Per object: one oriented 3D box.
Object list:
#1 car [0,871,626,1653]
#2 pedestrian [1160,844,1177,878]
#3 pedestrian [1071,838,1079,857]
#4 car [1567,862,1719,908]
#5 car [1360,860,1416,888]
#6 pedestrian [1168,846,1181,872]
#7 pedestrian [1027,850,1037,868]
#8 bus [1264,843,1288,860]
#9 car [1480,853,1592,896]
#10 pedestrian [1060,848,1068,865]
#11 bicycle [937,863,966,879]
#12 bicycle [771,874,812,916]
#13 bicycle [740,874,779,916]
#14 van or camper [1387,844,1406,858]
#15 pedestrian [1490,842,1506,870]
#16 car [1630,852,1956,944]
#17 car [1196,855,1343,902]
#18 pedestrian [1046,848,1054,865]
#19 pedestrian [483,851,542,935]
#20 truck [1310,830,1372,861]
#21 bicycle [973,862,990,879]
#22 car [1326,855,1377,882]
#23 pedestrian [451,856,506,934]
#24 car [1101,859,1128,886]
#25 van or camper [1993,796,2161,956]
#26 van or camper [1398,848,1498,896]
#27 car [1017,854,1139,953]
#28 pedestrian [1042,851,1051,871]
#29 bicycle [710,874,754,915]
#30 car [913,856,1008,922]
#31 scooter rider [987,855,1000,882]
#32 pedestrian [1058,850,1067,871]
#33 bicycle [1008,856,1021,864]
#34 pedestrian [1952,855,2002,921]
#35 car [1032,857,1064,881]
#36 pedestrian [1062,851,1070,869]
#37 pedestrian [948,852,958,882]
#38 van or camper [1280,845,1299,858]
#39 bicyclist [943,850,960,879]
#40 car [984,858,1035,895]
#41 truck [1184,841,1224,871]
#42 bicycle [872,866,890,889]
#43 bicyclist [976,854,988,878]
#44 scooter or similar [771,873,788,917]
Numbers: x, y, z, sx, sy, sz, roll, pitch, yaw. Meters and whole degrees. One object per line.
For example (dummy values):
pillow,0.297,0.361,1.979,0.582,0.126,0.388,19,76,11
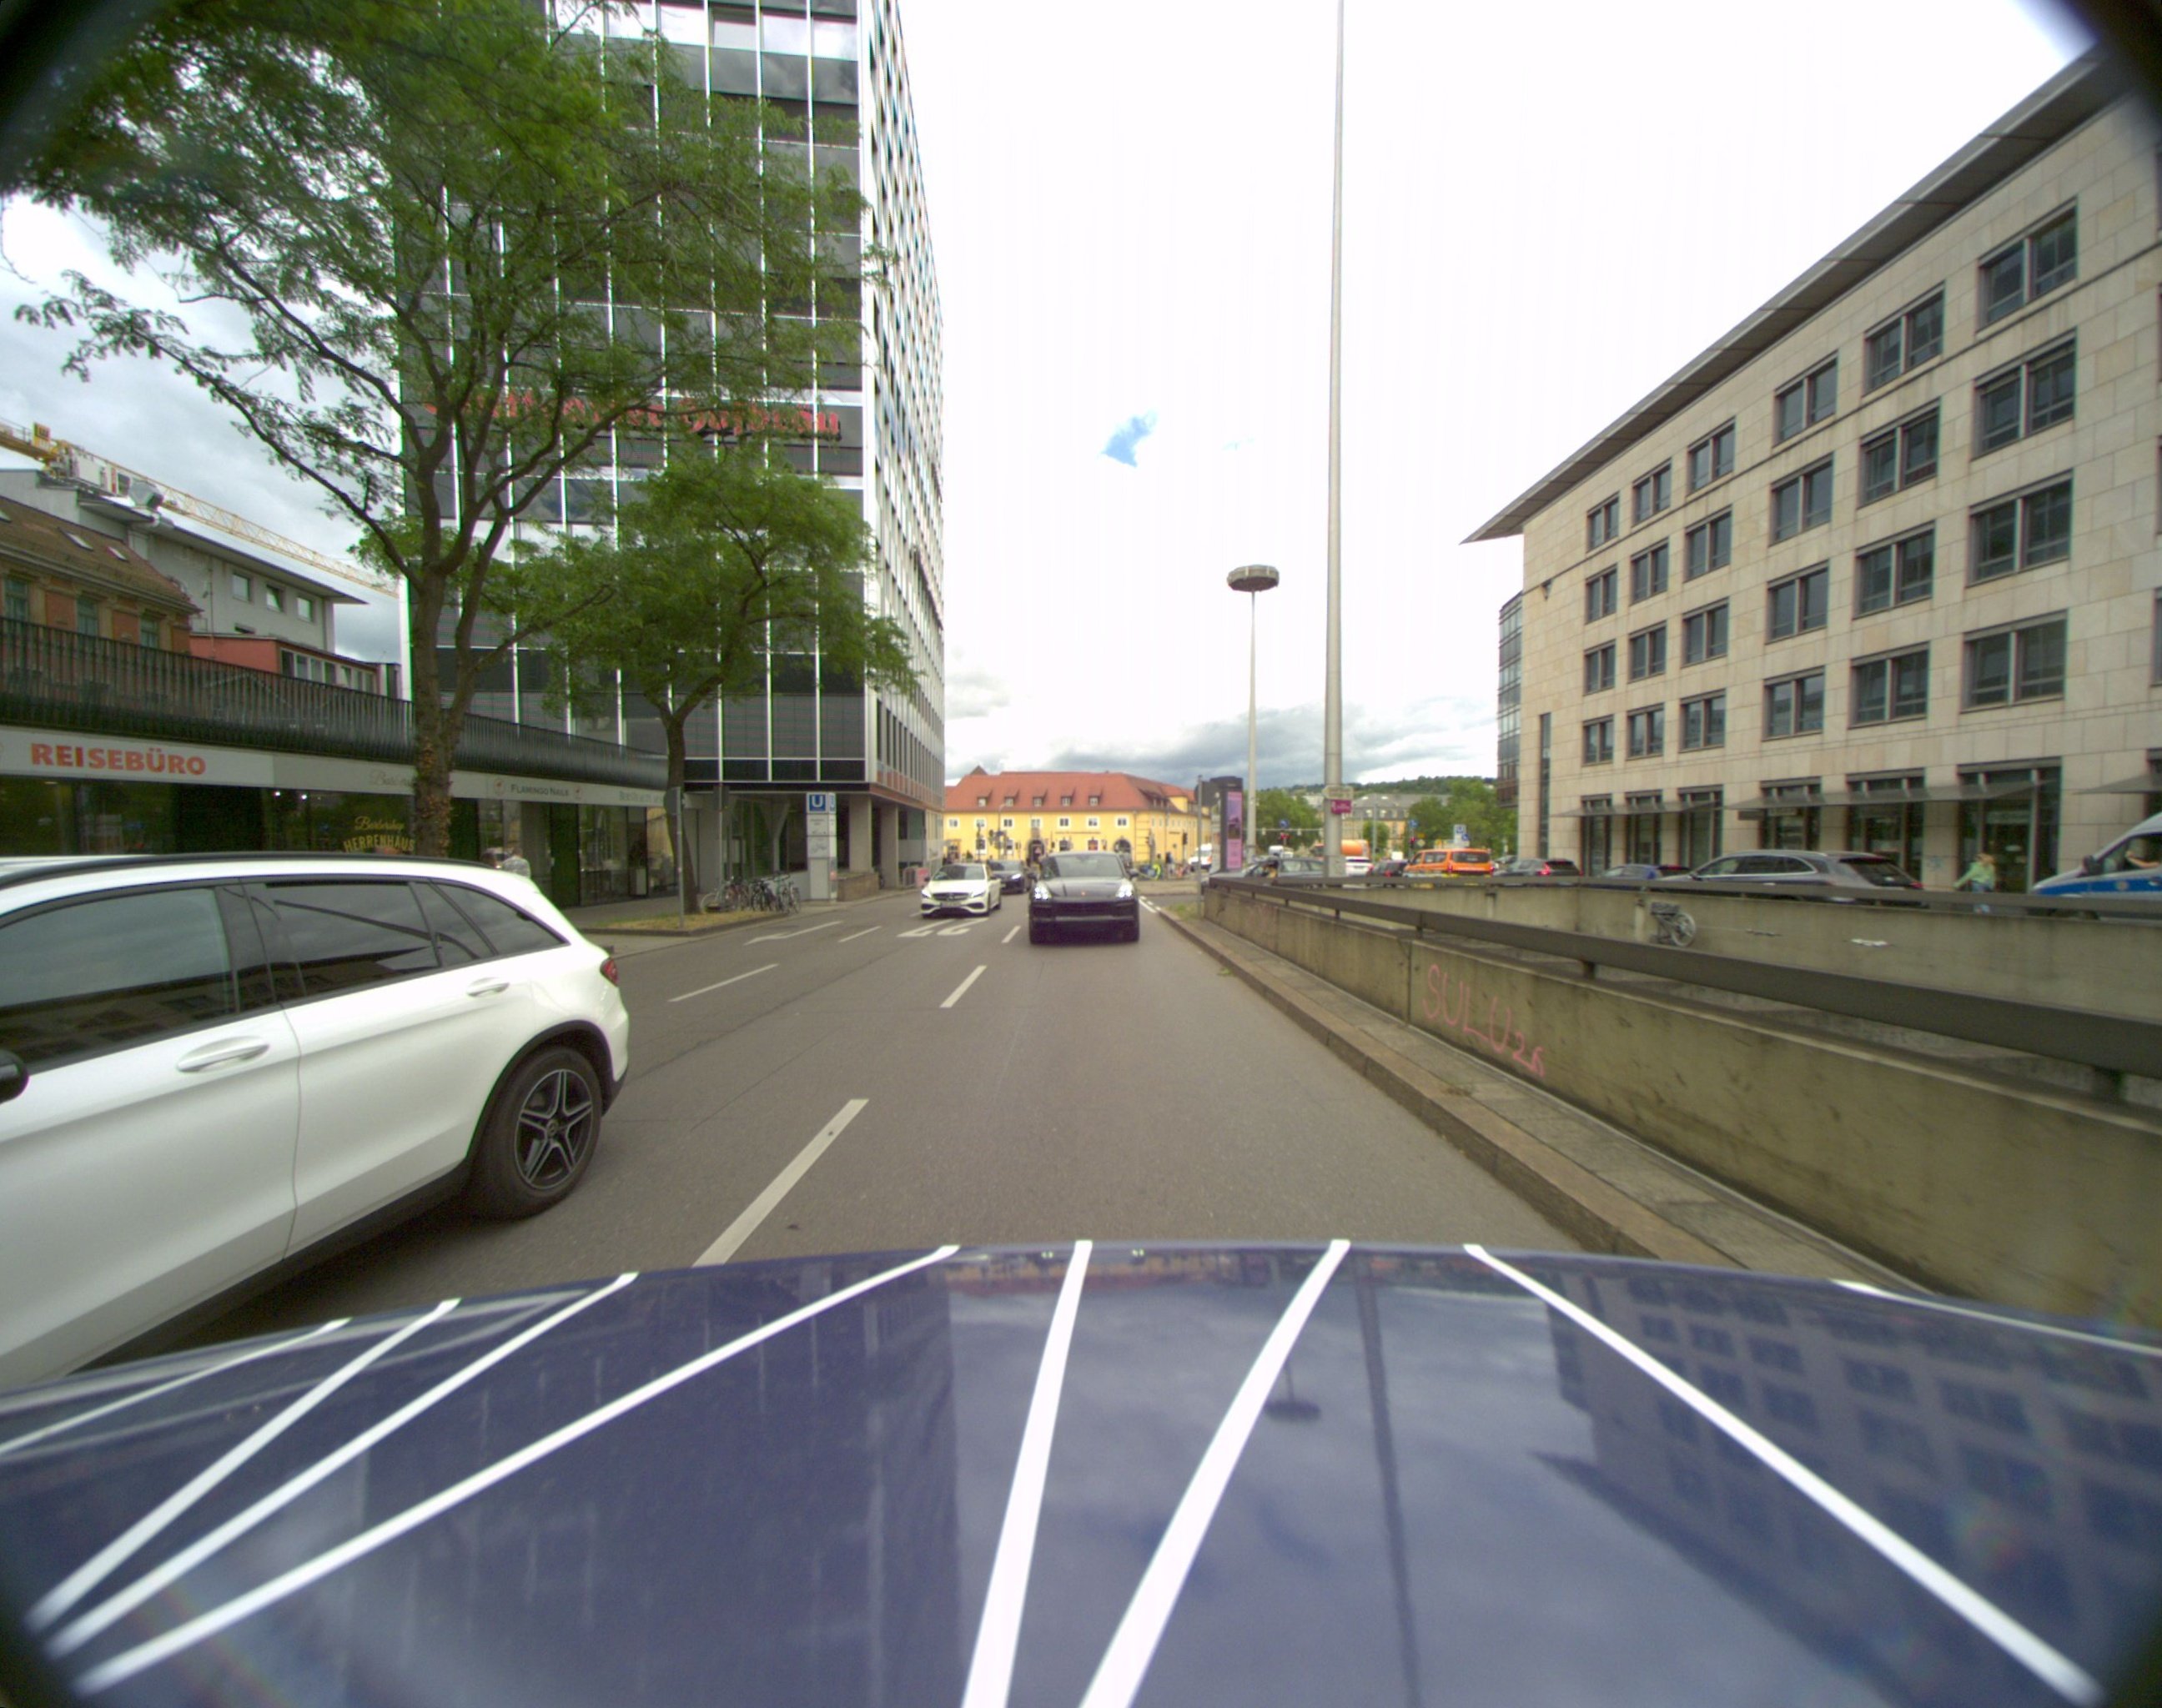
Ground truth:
car,-3.300,0.946,1.849,1.806,1.637,4.333,1,1,-1
pedestrian,5.537,0.428,48.091,0.879,2.160,0.761,0,1,-18
pedestrian,-0.568,-0.655,77.410,0.611,1.944,0.642,-1,1,-20
car,19.412,1.009,26.539,1.998,1.387,4.573,0,0,1
car,16.133,1.015,40.066,1.560,1.371,3.633,1,0,2
pedestrian,6.401,0.345,52.291,0.717,1.780,0.634,3,-1,0
pedestrian,-4.632,0.460,71.750,0.802,1.688,0.547,0,1,-18
bus,37.926,-0.555,147.470,3.428,3.185,13.082,0,0,20
car,19.371,0.810,32.630,1.998,1.636,4.683,1,0,0
pedestrian,-1.705,0.208,75.125,0.611,1.686,0.641,-1,1,-23
bicycle,-8.356,1.087,49.019,1.763,1.001,0.682,1,-1,26
bicycle,-8.476,1.172,22.295,0.490,1.126,1.843,0,0,0
bicycle,-9.451,1.178,22.387,0.491,1.126,1.886,0,0,-5
van or camper,57.952,-0.513,139.638,2.142,2.463,6.168,4,1,15
pedestrian,26.166,0.143,47.676,0.604,1.620,0.788,4,-5,12
car,13.498,0.727,14.907,1.924,1.518,4.539,0,0,-5
car,6.129,0.782,25.212,4.559,1.450,1.882,0,1,9
pedestrian,-3.140,0.219,76.269,0.611,1.686,0.641,-1,1,-23
pedestrian,-12.150,0.808,16.251,0.597,1.744,0.940,1,1,-5
truck,31.840,-1.120,92.727,9.196,3.597,2.720,-2,4,-40
bicycle,-6.643,1.085,50.697,0.582,1.021,1.665,0,1,-28
car,16.528,0.847,46.653,1.738,1.589,4.319,0,1,2
pedestrian,-12.858,0.858,16.227,0.597,1.619,0.757,1,1,-5
car,2.837,1.505,62.928,1.858,1.977,4.643,1,2,7
van or camper,19.821,0.363,12.150,3.009,2.710,6.245,0,0,1
van or camper,15.953,0.717,33.373,1.918,1.910,5.083,1,0,0
car,0.133,0.842,15.182,2.004,1.628,5.022,-1,0,4
pedestrian,-3.254,0.662,72.244,0.670,1.852,0.701,-1,1,-21
bicycle,-10.342,1.174,22.568,0.490,1.126,1.688,0,1,1
car,-3.252,0.890,21.388,1.870,1.560,4.651,-2,0,0
scooter rider,-5.933,0.990,51.708,0.594,1.798,0.641,0,2,-41
pedestrian,-1.793,0.639,73.469,0.611,1.953,0.641,-1,1,-23
bicycle,-9.634,0.883,110.572,1.769,1.079,0.622,0,1,10
pedestrian,22.453,0.844,19.053,0.501,1.615,0.627,0,1,0
car,-2.132,0.961,49.871,1.707,1.524,3.764,0,0,3
pedestrian,-1.535,0.615,76.084,0.611,1.786,0.641,-1,1,-23
pedestrian,-7.526,0.746,44.711,0.526,1.702,0.752,1,3,-5
van or camper,37.046,-0.453,134.883,2.369,2.249,6.298,1,0,25
bicyclist,-8.363,0.665,48.981,0.811,1.835,0.676,2,2,28
car,-3.110,0.944,33.657,1.707,1.524,3.764,0,0,3
truck,11.815,0.162,72.528,1.951,2.767,5.800,1,1,29
bicycle,-9.921,1.150,37.644,0.715,1.042,1.483,0,0,-20
bicyclist,-6.590,0.786,50.593,0.566,1.541,0.844,0,2,-28
scooter or similar,-8.997,1.213,22.722,0.307,1.244,0.995,0,1,-12
